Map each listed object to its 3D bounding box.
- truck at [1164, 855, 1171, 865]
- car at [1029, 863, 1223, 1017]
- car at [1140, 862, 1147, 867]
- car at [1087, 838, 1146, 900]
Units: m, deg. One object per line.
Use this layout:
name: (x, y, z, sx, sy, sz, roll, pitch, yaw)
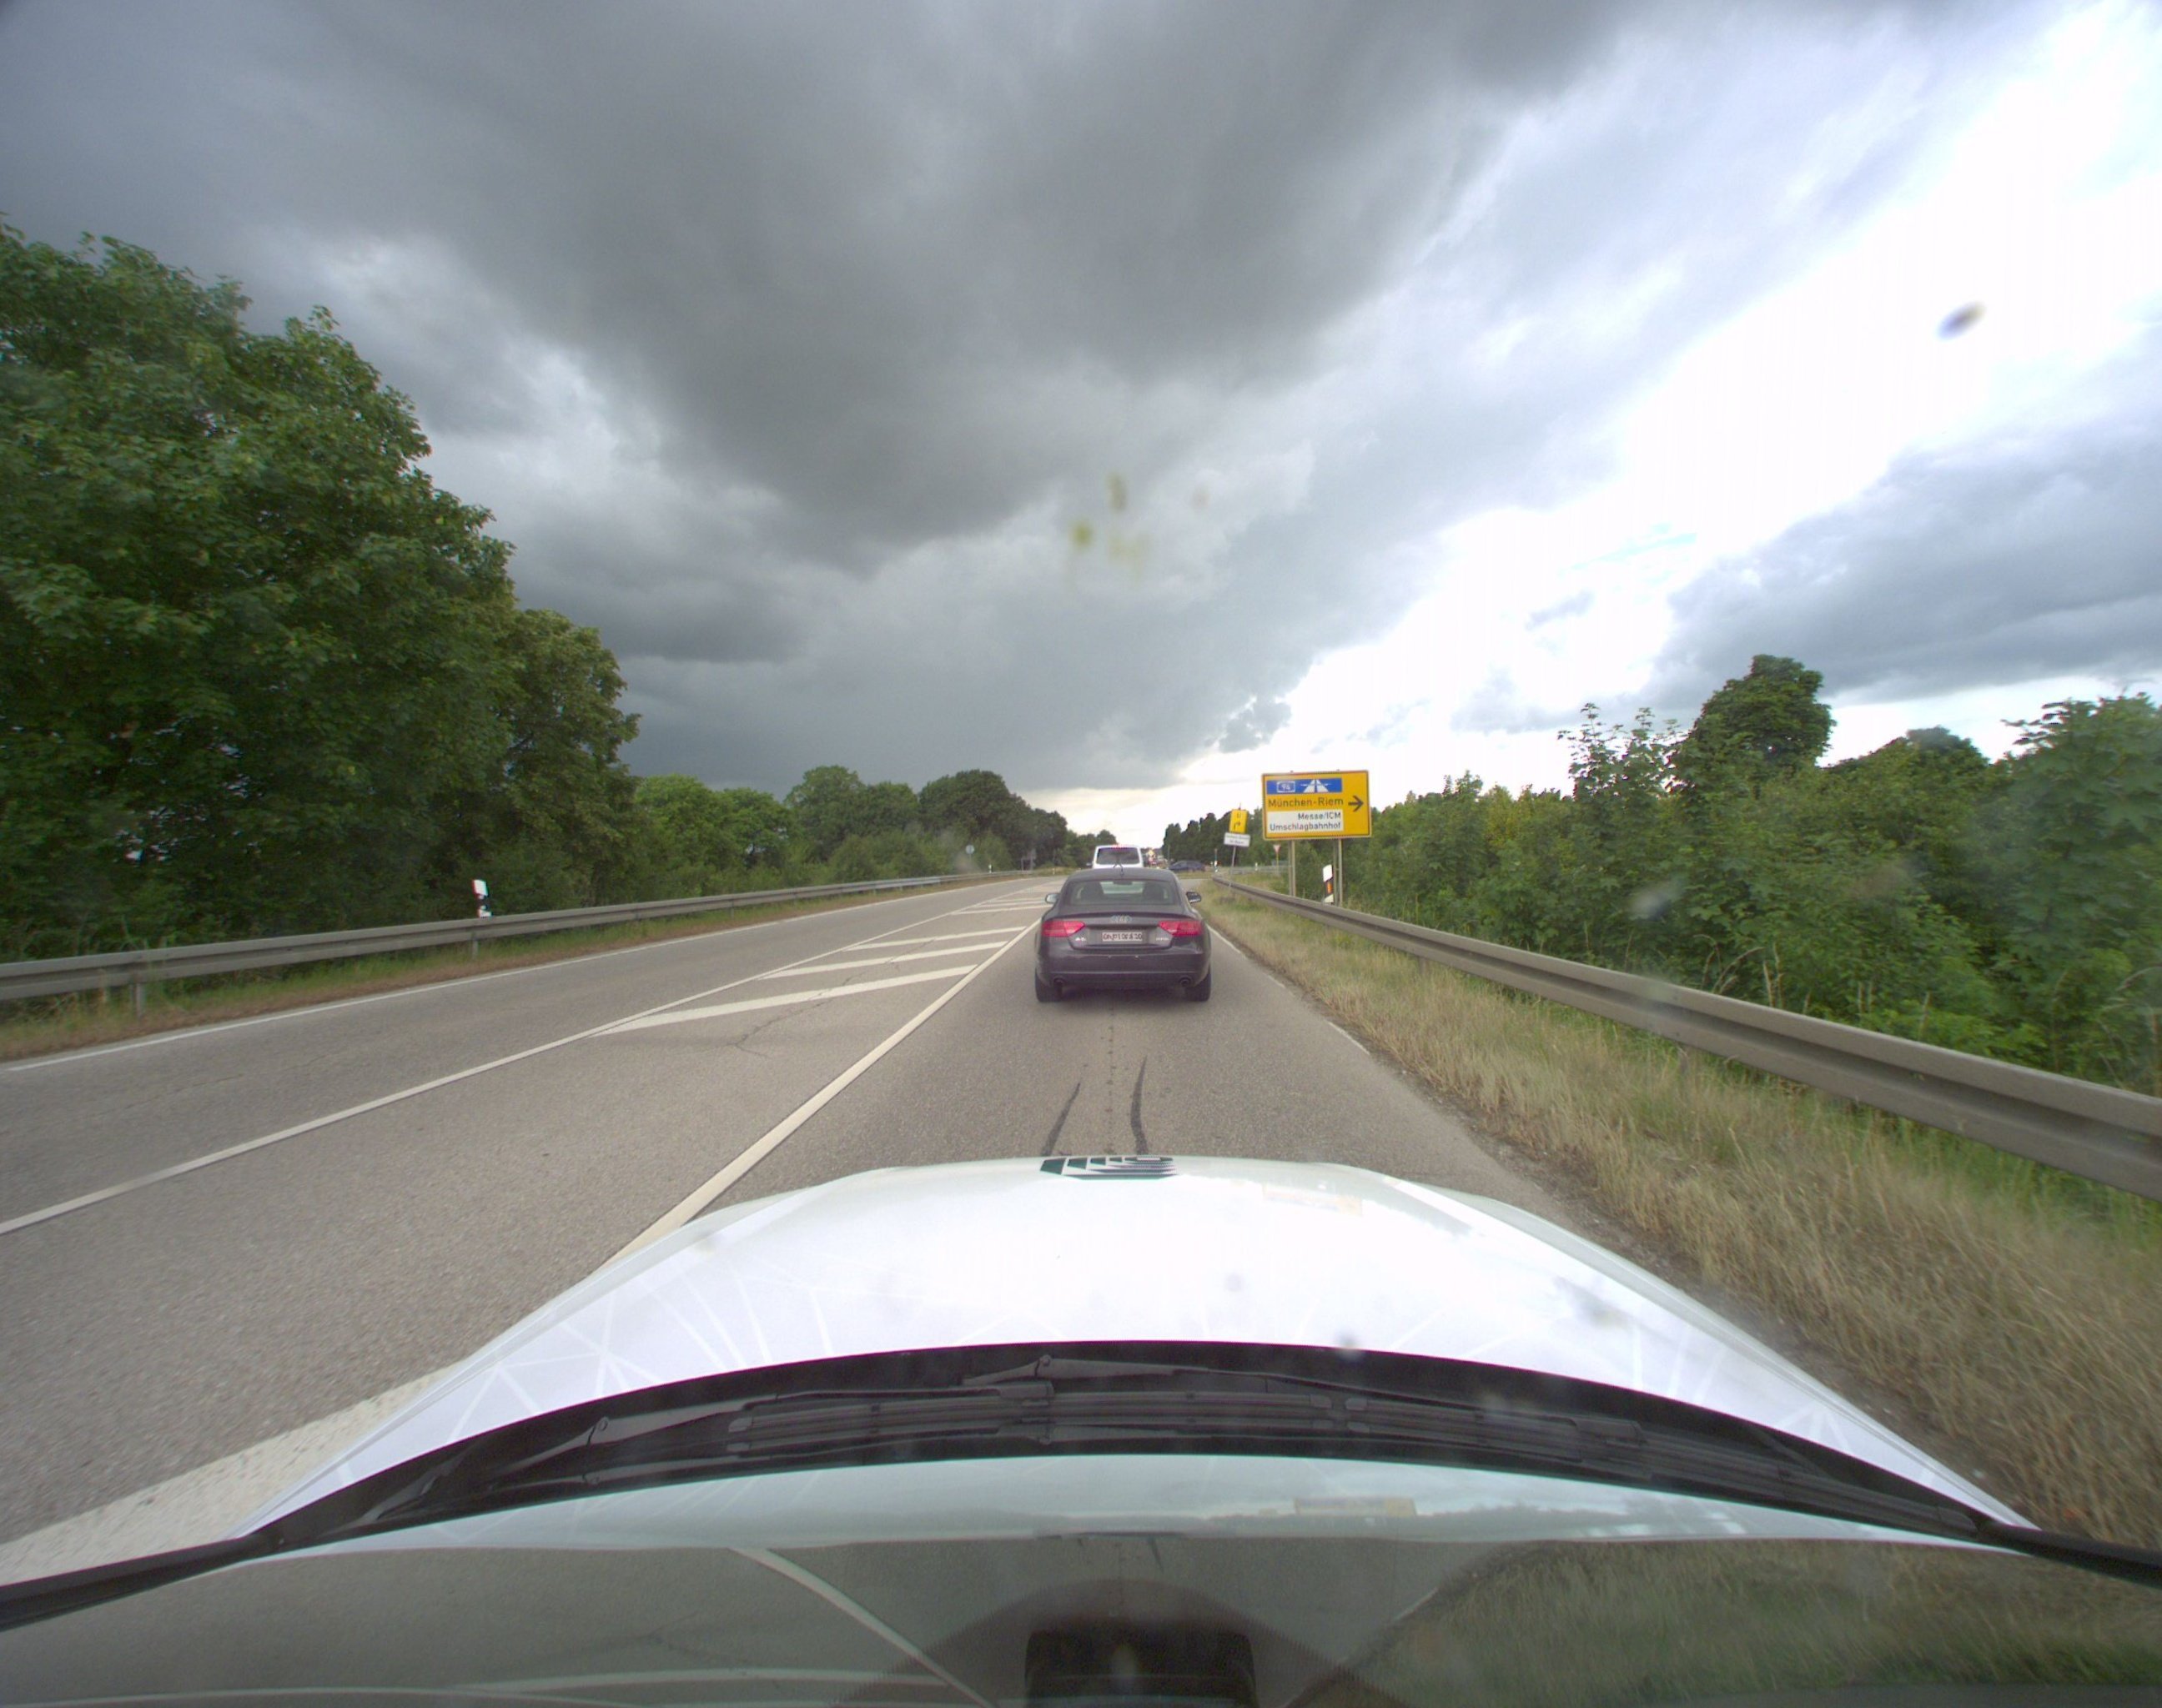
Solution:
truck: (25.865, 1.801, 244.252, 1.984, 2.918, 5.802, 0, 0, 5)
car: (0.469, 0.815, 9.226, 1.773, 1.399, 3.338, -1, -1, 2)
car: (17.032, 2.859, 221.548, 1.728, 1.454, 4.001, 0, 0, 1)
car: (1.245, 0.502, 28.725, 1.903, 2.013, 4.002, 0, 0, 2)
